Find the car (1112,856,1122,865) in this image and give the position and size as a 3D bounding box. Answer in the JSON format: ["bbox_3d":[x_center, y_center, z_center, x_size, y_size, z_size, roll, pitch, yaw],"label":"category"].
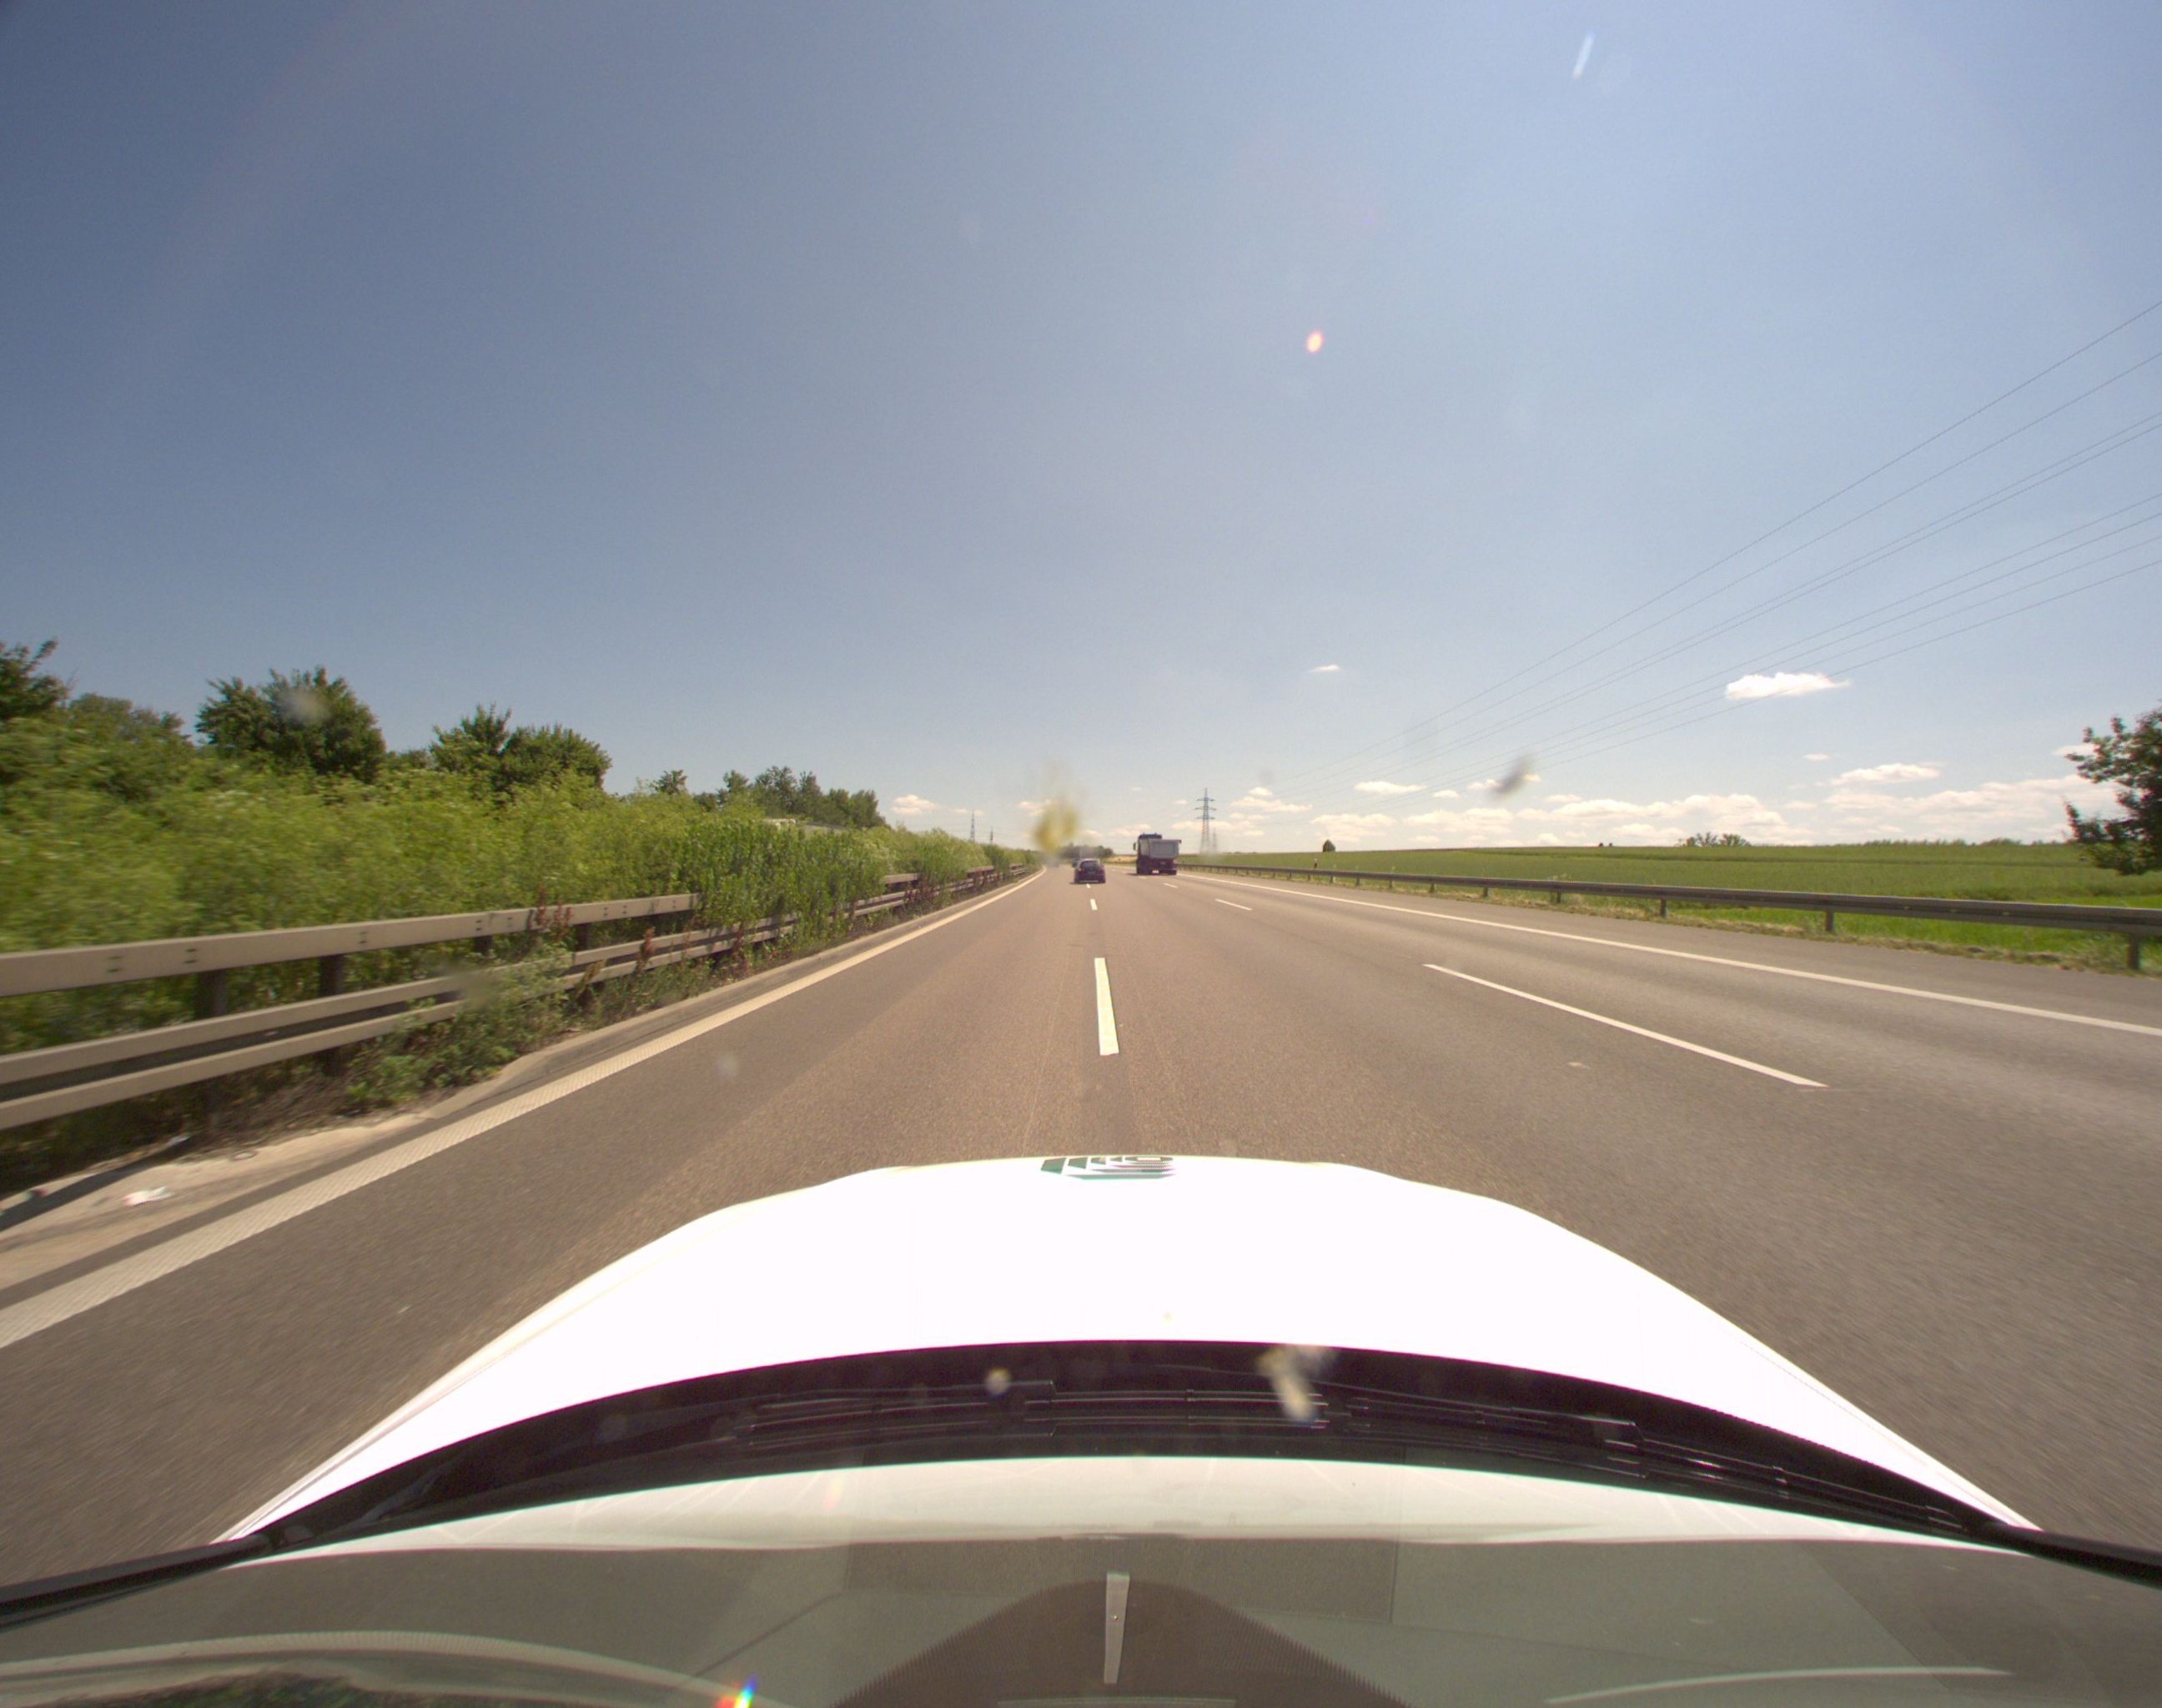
[{"bbox_3d":[7.765,1.341,176.877,1.987,1.853,4.000,-1,-1,0],"label":"car"}]

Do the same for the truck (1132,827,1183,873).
[{"bbox_3d":[6.672,-0.305,73.437,2.858,3.724,12.750,-1,0,-2],"label":"truck"}]

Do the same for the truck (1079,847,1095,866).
[{"bbox_3d":[1.357,0.572,180.995,3.212,3.924,9.054,-1,-1,-2],"label":"truck"}]

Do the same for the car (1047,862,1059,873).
[{"bbox_3d":[-4.724,2.236,138.431,1.987,1.860,3.999,-1,-1,-1],"label":"car"}]

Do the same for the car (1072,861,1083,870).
[{"bbox_3d":[-0.731,2.130,147.848,1.834,1.541,3.910,-1,-1,-3],"label":"car"}]

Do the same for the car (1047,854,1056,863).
[{"bbox_3d":[-6.375,0.935,177.552,1.897,1.926,3.996,-1,-1,-2],"label":"car"}]

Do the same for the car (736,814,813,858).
[{"bbox_3d":[-18.493,-1.004,49.487,2.561,2.452,5.512,-1,-1,0],"label":"car"}]

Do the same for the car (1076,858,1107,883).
[{"bbox_3d":[0.643,0.969,49.759,1.750,1.429,4.000,-1,0,0],"label":"car"}]
